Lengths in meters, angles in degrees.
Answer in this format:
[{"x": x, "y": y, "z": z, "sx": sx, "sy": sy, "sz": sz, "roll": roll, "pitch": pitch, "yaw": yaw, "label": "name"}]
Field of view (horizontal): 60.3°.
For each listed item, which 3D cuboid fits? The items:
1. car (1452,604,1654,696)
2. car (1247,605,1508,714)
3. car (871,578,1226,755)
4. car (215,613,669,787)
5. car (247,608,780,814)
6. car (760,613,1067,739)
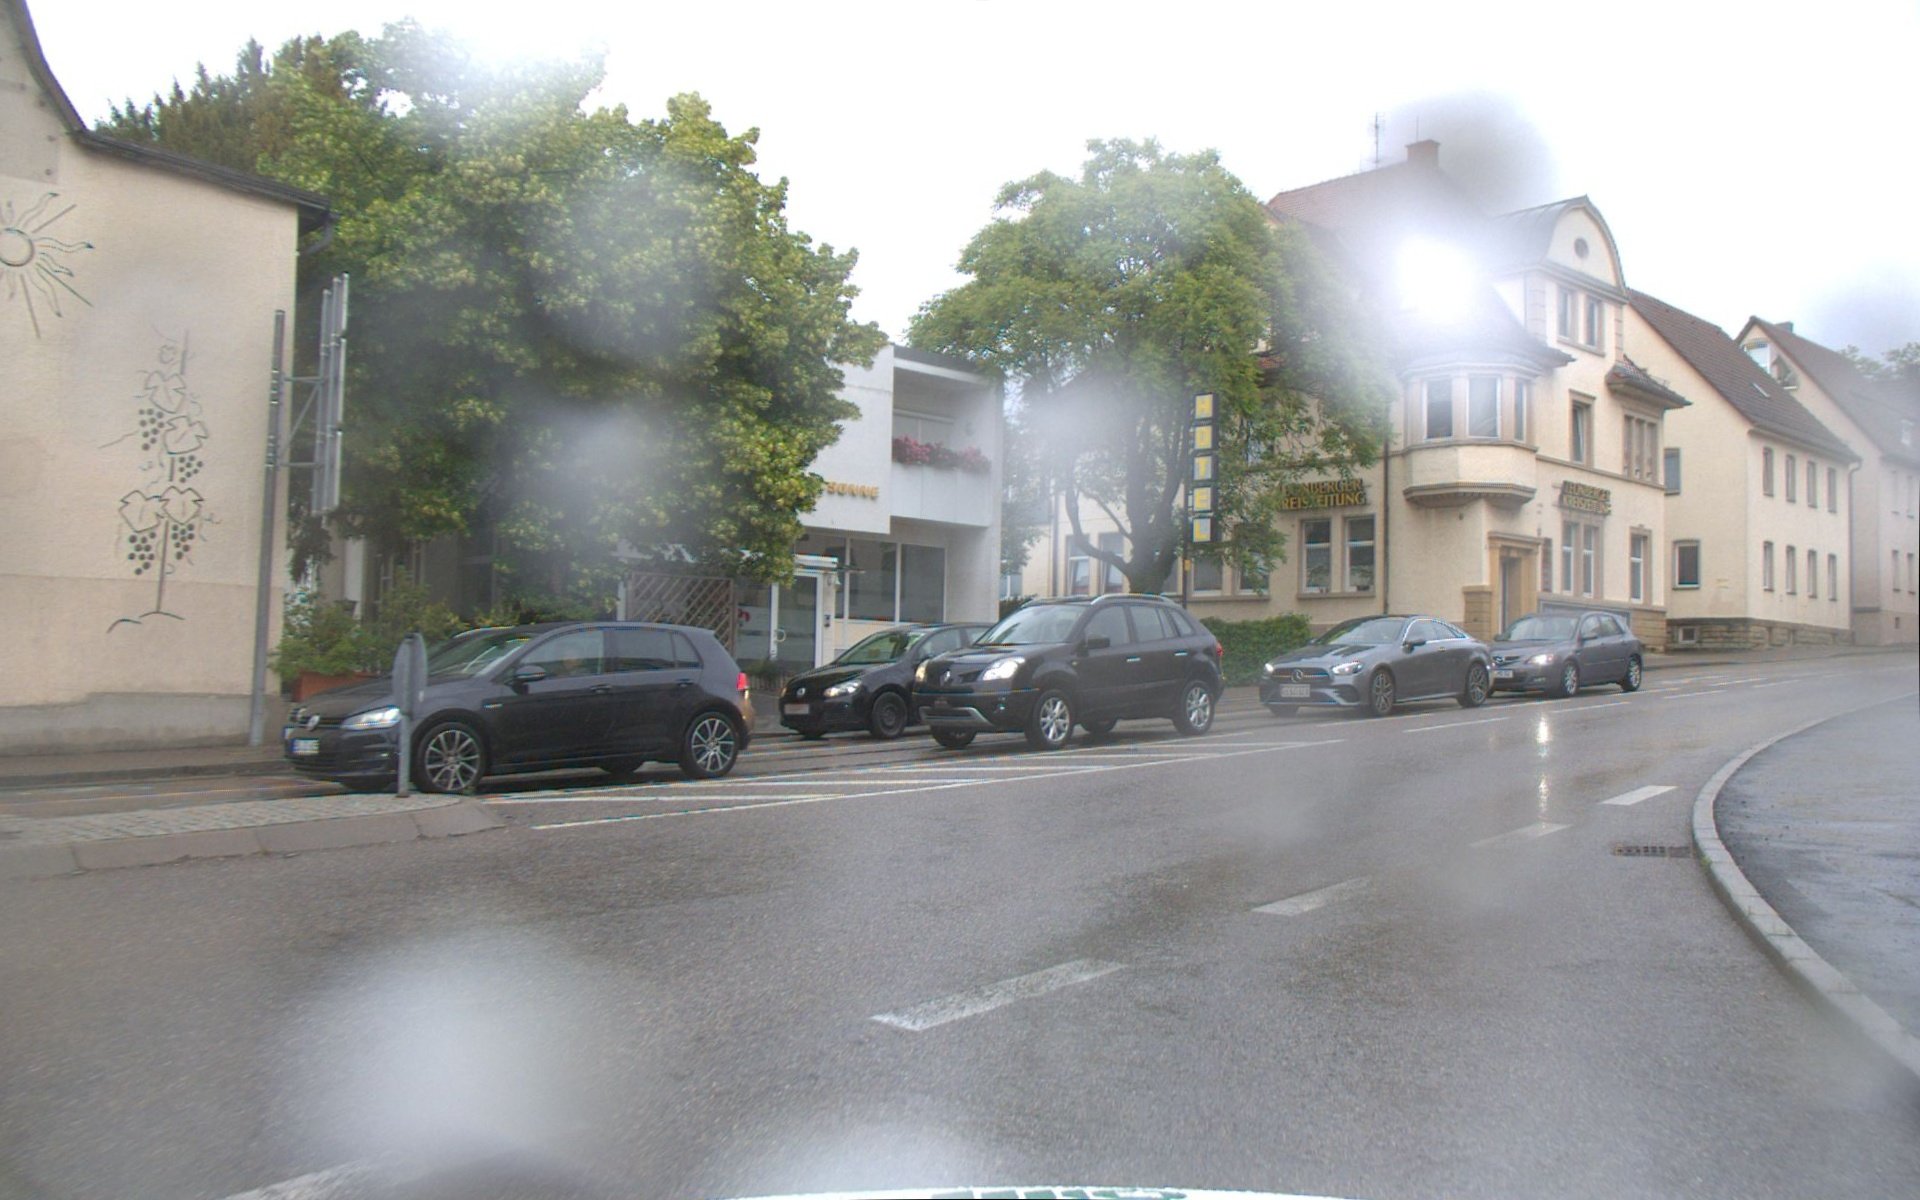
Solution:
[{"x": 10.537, "y": 0.864, "z": 29.252, "sx": 1.749, "sy": 1.477, "sz": 4.156, "roll": -4, "pitch": -3, "yaw": 45, "label": "car"}, {"x": 6.378, "y": 0.856, "z": 24.947, "sx": 1.749, "sy": 1.477, "sz": 4.507, "roll": -4, "pitch": -3, "yaw": 45, "label": "car"}, {"x": 1.138, "y": 0.729, "z": 19.460, "sx": 1.749, "sy": 1.847, "sz": 4.285, "roll": -4, "pitch": -3, "yaw": 45, "label": "car"}, {"x": -5.254, "y": 0.962, "z": 17.138, "sx": 1.749, "sy": 1.545, "sz": 4.156, "roll": -4, "pitch": -3, "yaw": 45, "label": "car"}, {"x": -3.803, "y": 0.884, "z": 14.645, "sx": 1.748, "sy": 1.531, "sz": 4.287, "roll": -4, "pitch": -3, "yaw": 43, "label": "car"}, {"x": -0.562, "y": 0.996, "z": 22.702, "sx": 1.749, "sy": 1.545, "sz": 4.156, "roll": -4, "pitch": -3, "yaw": 45, "label": "car"}]
